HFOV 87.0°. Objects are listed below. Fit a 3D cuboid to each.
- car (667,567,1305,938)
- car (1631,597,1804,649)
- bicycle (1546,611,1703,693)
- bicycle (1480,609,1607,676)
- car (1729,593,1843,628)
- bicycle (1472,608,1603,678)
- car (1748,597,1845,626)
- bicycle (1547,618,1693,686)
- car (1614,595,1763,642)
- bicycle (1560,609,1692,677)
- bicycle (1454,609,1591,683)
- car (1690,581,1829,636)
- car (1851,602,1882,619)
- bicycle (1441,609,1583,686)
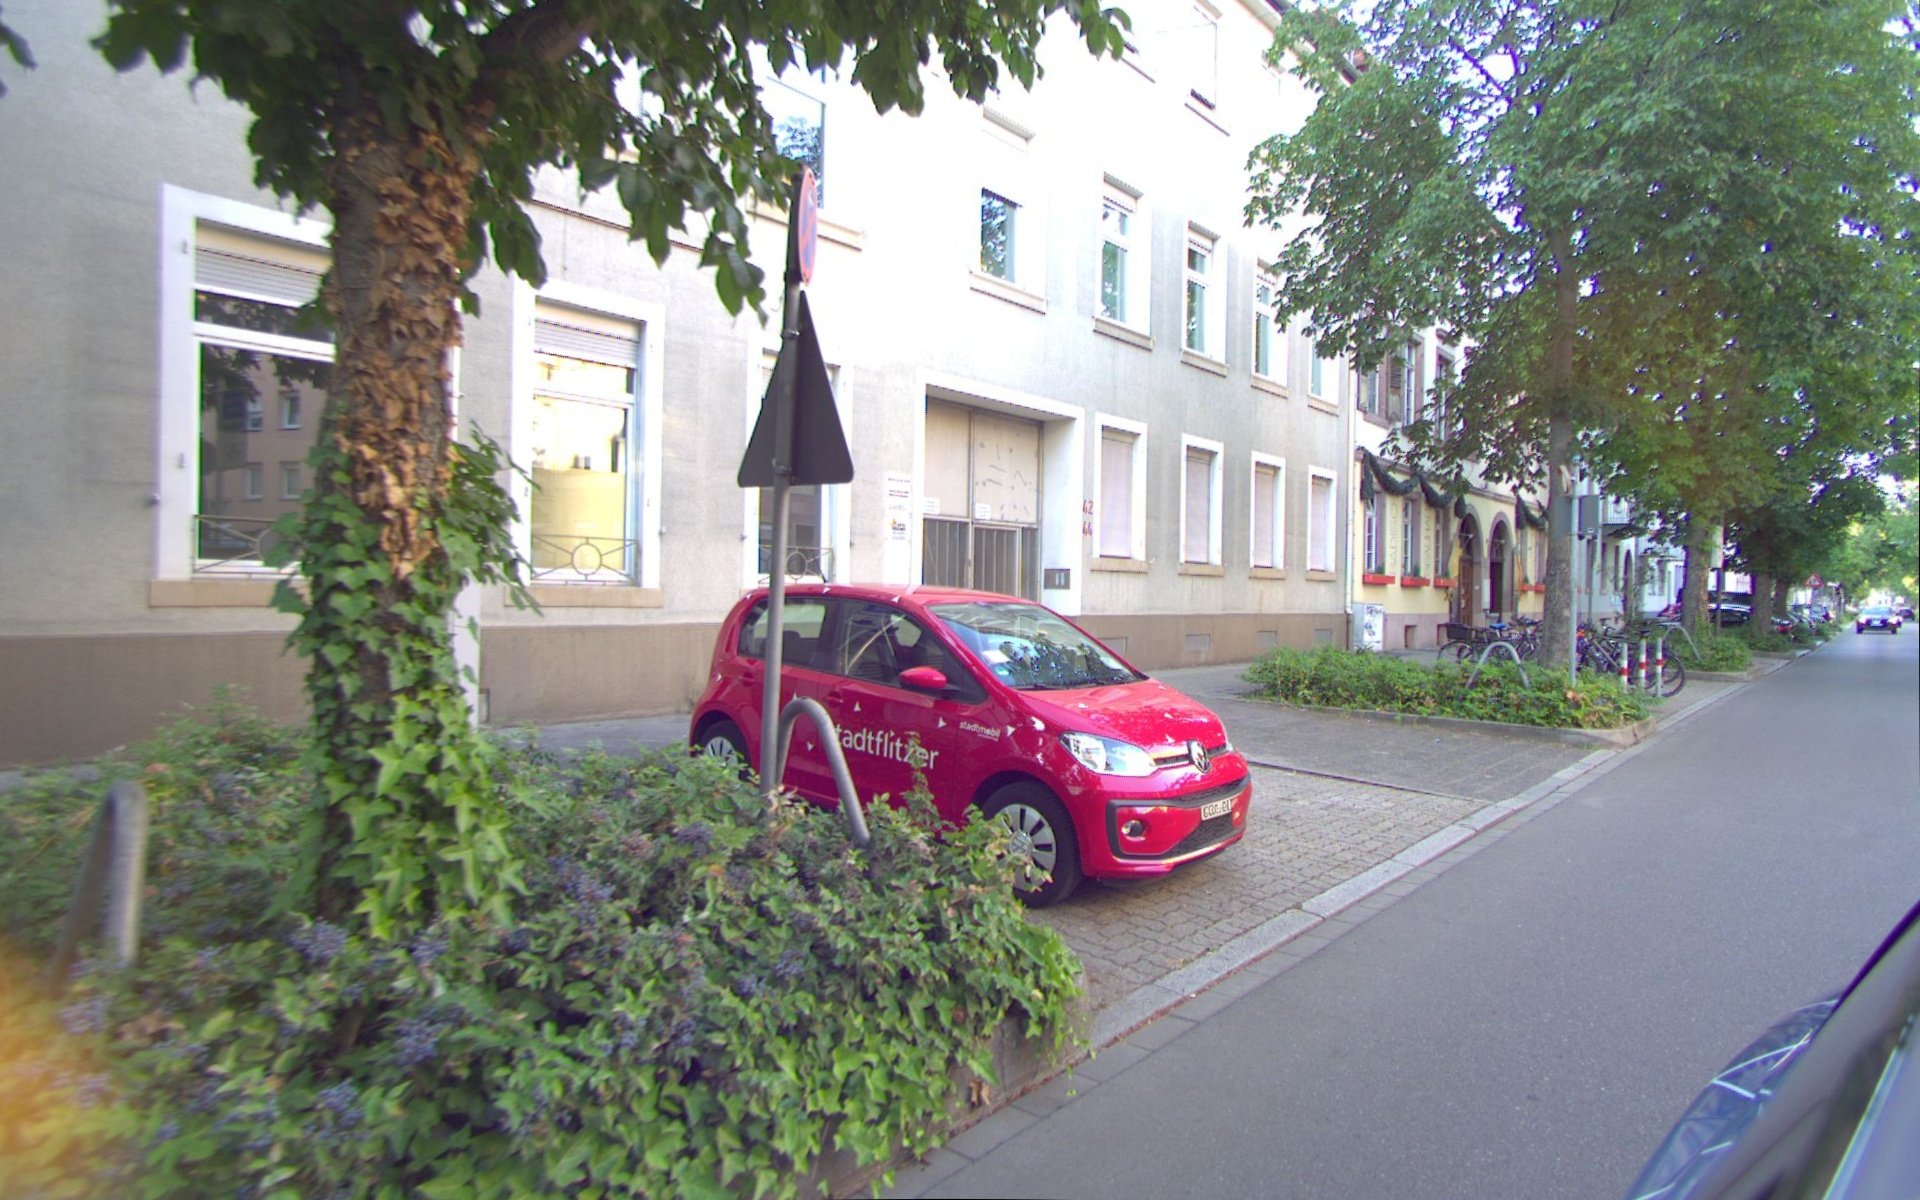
[{"bbox_3d":[-0.052,0.596,6.008,3.654,1.494,1.542,3,2,42],"label":"car"},{"bbox_3d":[25.281,0.726,33.880,1.748,1.524,4.434,1,1,-45],"label":"car"},{"bbox_3d":[10.548,0.797,16.130,2.036,1.160,0.439,2,1,45],"label":"bicycle"},{"bbox_3d":[10.996,0.773,19.122,2.035,1.160,0.415,2,1,43],"label":"bicycle"},{"bbox_3d":[42.693,0.529,52.380,1.748,1.633,4.434,1,1,-45],"label":"car"},{"bbox_3d":[10.553,0.754,18.545,2.035,1.160,0.415,2,1,43],"label":"bicycle"},{"bbox_3d":[51.033,0.701,61.825,1.748,1.633,4.434,1,1,-45],"label":"car"},{"bbox_3d":[11.225,0.862,17.269,2.035,1.016,0.415,2,1,43],"label":"bicycle"},{"bbox_3d":[28.027,0.657,39.037,1.748,1.633,4.434,1,1,-45],"label":"car"},{"bbox_3d":[12.530,0.787,19.089,2.035,1.160,0.415,2,1,43],"label":"bicycle"},{"bbox_3d":[9.741,0.771,17.599,2.035,1.160,0.415,2,1,43],"label":"bicycle"},{"bbox_3d":[33.789,0.316,42.831,1.748,2.150,4.434,1,1,-45],"label":"car"},{"bbox_3d":[75.930,0.847,84.744,1.822,1.389,3.938,2,1,43],"label":"car"},{"bbox_3d":[9.182,0.754,16.913,0.439,1.160,2.038,1,1,-43],"label":"bicycle"}]
